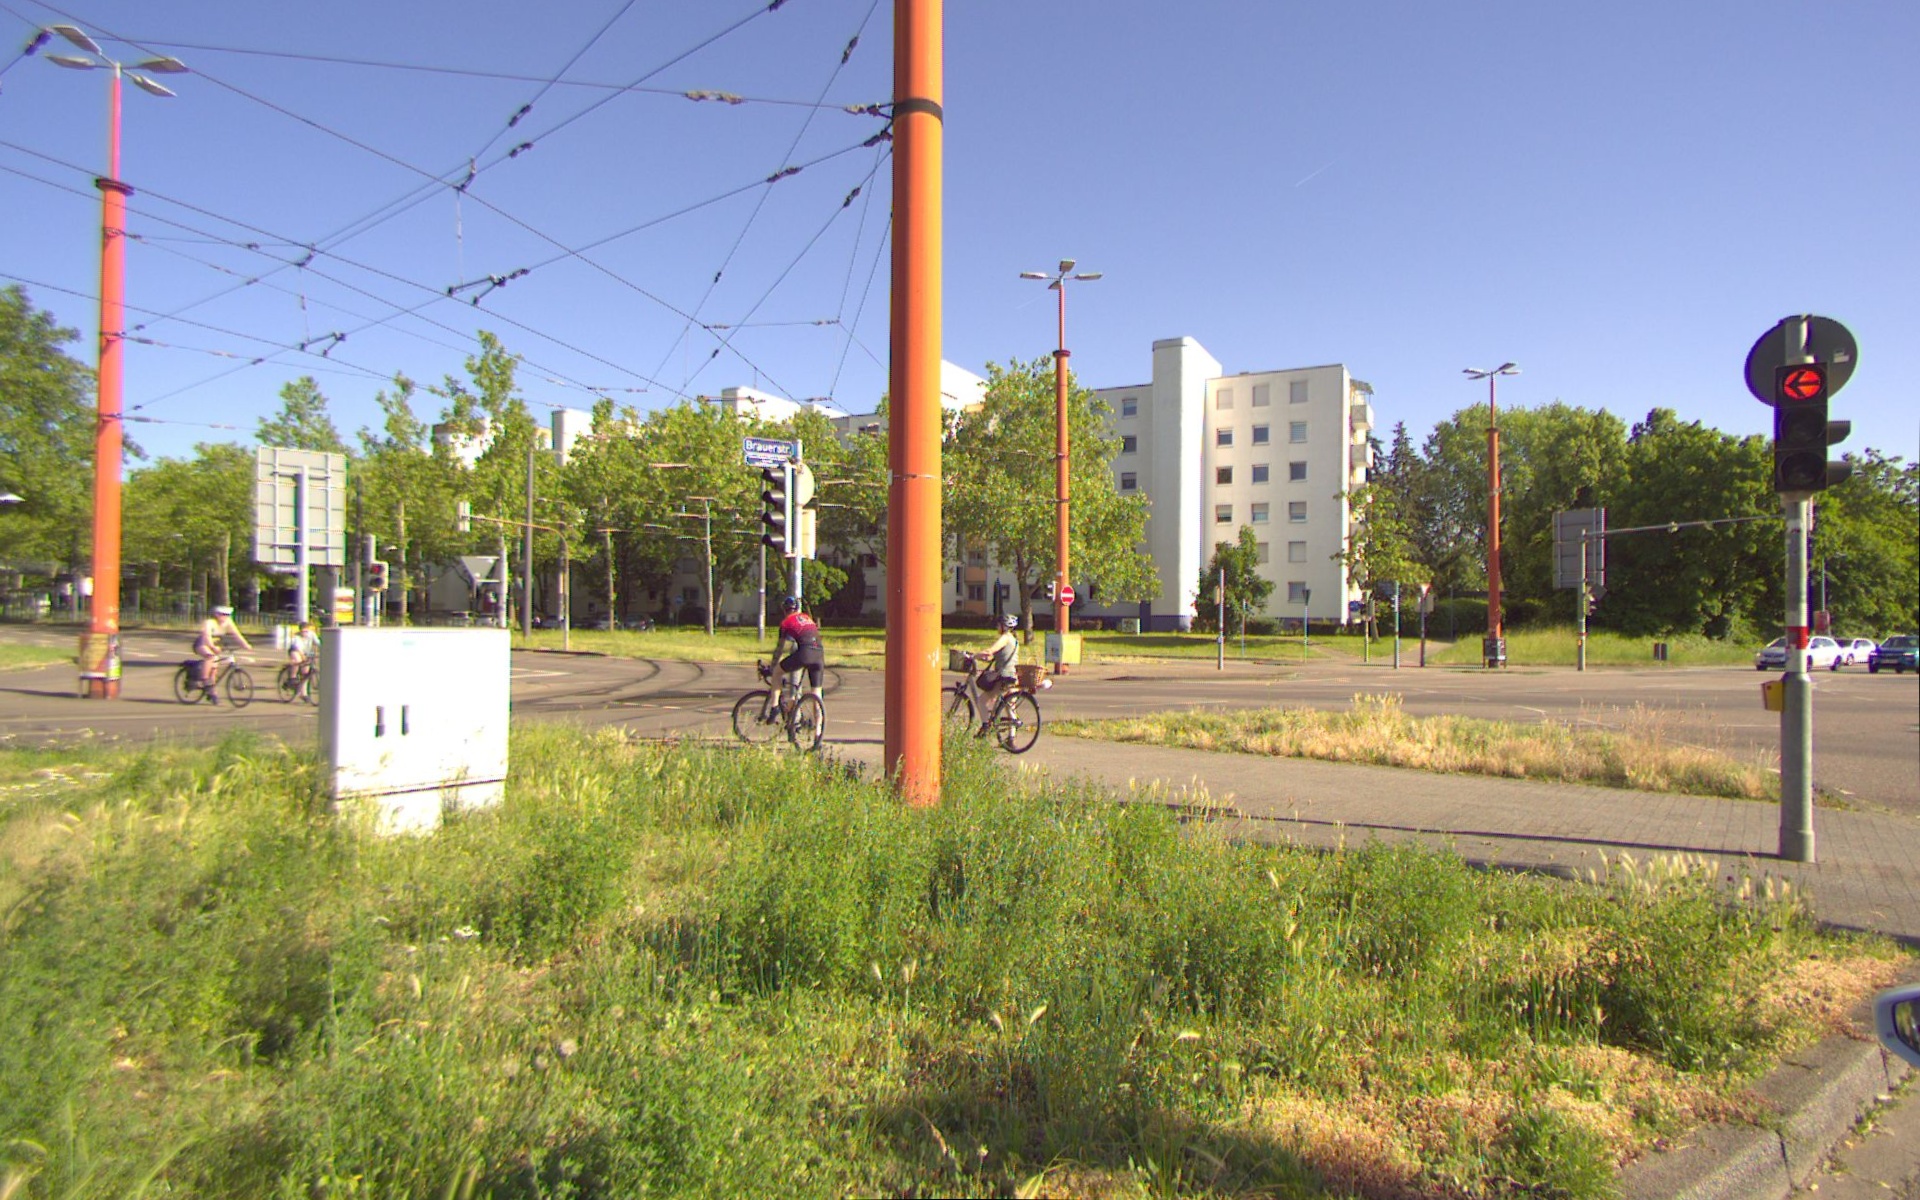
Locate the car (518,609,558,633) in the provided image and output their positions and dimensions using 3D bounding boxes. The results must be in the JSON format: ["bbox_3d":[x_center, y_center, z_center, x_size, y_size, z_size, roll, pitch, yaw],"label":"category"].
[{"bbox_3d":[-33.814,1.669,80.522,1.963,1.840,3.995,1,-1,-8],"label":"car"}]

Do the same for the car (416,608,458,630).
[{"bbox_3d":[-46.029,1.674,88.470,1.963,1.840,3.995,1,-1,-8],"label":"car"}]

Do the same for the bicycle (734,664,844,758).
[{"bbox_3d":[-2.118,1.306,12.231,0.915,0.976,1.747,1,-1,-24],"label":"bicycle"}]

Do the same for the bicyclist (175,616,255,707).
[{"bbox_3d":[-14.005,1.131,18.892,0.726,1.659,0.934,0,-1,18],"label":"bicyclist"}]

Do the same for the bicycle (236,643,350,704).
[{"bbox_3d":[-13.254,1.440,19.975,1.849,1.102,0.928,0,-1,18],"label":"bicycle"}]

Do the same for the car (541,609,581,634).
[{"bbox_3d":[-31.198,1.674,78.672,1.963,1.840,3.995,1,-1,-8],"label":"car"}]

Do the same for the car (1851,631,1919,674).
[{"bbox_3d":[37.264,2.039,39.862,4.079,1.594,1.981,2,-1,-35],"label":"car"}]

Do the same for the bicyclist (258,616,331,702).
[{"bbox_3d":[-13.215,1.160,19.963,0.726,1.659,0.934,0,-1,18],"label":"bicyclist"}]

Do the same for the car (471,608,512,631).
[{"bbox_3d":[-39.290,1.640,84.320,1.963,1.840,3.995,1,-1,-8],"label":"car"}]

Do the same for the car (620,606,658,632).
[{"bbox_3d":[-23.409,1.398,73.412,1.963,1.840,3.995,1,-1,-8],"label":"car"}]

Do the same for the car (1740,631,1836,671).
[{"bbox_3d":[35.140,2.151,42.603,4.075,1.594,1.983,1,-1,-32],"label":"car"}]

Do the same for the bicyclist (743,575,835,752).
[{"bbox_3d":[-2.069,0.746,12.135,0.921,2.040,0.736,1,-1,-25],"label":"bicyclist"}]

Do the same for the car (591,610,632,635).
[{"bbox_3d":[-26.115,1.685,75.323,1.962,1.840,3.997,1,-1,-5],"label":"car"}]

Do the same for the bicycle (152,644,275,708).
[{"bbox_3d":[-14.032,1.410,18.891,1.849,1.102,0.928,0,-1,18],"label":"bicycle"}]

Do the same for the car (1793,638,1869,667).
[{"bbox_3d":[46.133,2.746,53.190,4.171,1.471,1.785,1,-1,-30],"label":"car"}]

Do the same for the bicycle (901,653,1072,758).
[{"bbox_3d":[0.312,1.225,12.117,1.855,1.102,0.925,0,-1,34],"label":"bicycle"}]

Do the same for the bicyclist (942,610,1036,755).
[{"bbox_3d":[0.356,0.955,12.093,0.728,1.659,0.931,0,-1,35],"label":"bicyclist"}]

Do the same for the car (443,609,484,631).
[{"bbox_3d":[-42.680,1.698,86.441,1.963,1.840,3.995,1,-1,-8],"label":"car"}]
